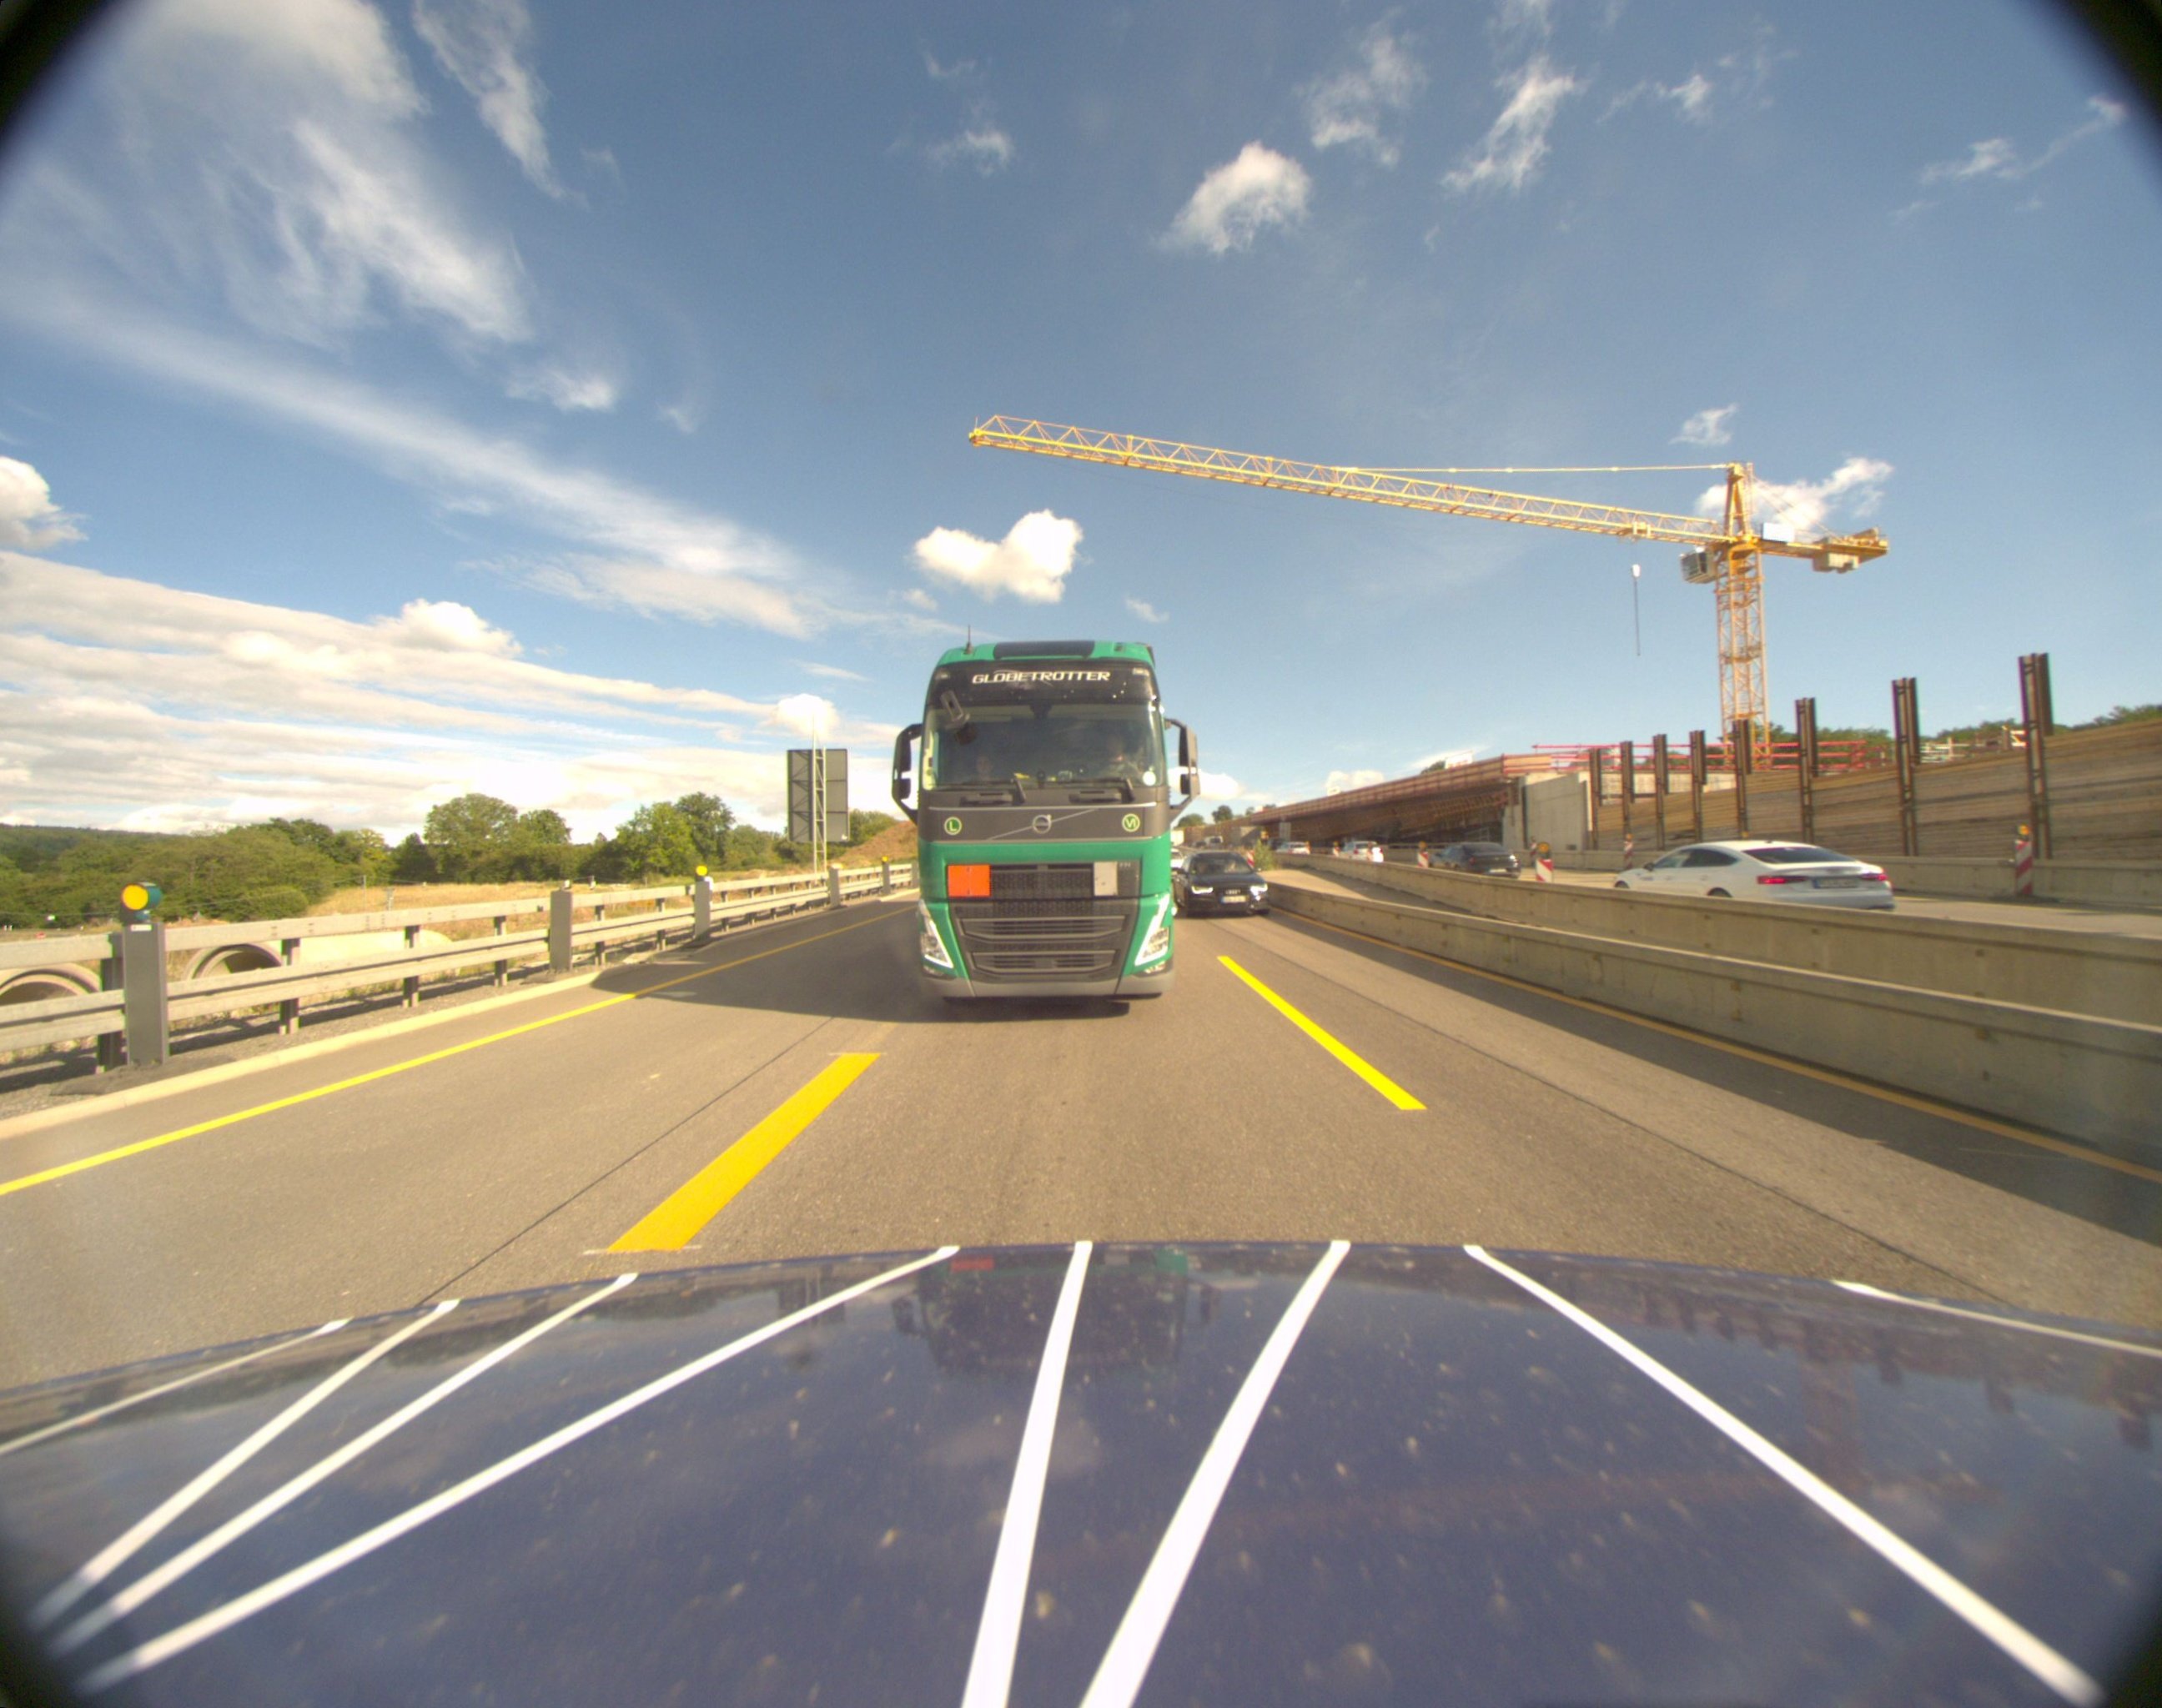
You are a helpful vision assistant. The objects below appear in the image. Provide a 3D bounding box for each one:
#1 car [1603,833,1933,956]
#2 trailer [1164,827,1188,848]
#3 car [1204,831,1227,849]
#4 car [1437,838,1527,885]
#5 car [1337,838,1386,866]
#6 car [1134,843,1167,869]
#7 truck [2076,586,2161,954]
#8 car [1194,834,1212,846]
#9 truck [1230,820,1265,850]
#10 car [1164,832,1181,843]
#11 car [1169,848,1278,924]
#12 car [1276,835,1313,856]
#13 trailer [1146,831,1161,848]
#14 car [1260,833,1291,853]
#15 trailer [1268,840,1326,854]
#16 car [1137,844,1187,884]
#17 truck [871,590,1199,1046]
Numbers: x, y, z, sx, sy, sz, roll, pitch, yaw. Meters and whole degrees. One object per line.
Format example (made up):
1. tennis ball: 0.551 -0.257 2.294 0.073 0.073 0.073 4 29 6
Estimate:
1. car: 10.957 0.537 12.683 1.848 1.638 4.507 -2 0 8
2. trailer: 18.878 -3.372 151.820 2.828 3.820 13.797 -2 2 -1
3. car: 19.439 -2.041 110.070 2.264 2.389 5.865 -2 2 1
4. car: 13.809 0.195 26.435 1.824 1.431 4.619 -2 1 16
5. car: 15.773 -0.116 42.912 1.757 1.431 3.806 -2 1 7
6. car: 4.747 0.122 52.379 1.806 1.555 4.560 -2 2 1
7. truck: 13.920 -1.037 6.490 2.920 4.361 6.290 -3 0 9
8. car: 16.701 -1.906 104.040 1.857 1.626 4.749 -2 0 2
9. truck: 19.922 -2.282 91.332 2.707 3.293 7.536 -2 2 2
10. car: 16.044 -2.867 133.636 2.131 1.755 5.029 -2 0 -2
11. car: 3.325 0.679 18.634 1.806 1.448 4.659 -2 2 1
12. car: 16.265 -0.641 58.070 1.856 1.431 4.560 -2 0 5
13. trailer: 18.744 -3.761 196.665 2.694 4.133 13.808 -2 2 1
14. car: 19.206 -1.106 75.185 1.998 1.794 4.443 -2 2 2
15. trailer: 19.092 -0.689 67.806 2.357 0.934 10.326 -2 2 1
16. car: 3.664 0.393 35.053 1.806 1.555 4.560 -2 2 1
17. truck: -0.395 -0.447 11.706 2.663 3.826 10.313 -2 2 0
